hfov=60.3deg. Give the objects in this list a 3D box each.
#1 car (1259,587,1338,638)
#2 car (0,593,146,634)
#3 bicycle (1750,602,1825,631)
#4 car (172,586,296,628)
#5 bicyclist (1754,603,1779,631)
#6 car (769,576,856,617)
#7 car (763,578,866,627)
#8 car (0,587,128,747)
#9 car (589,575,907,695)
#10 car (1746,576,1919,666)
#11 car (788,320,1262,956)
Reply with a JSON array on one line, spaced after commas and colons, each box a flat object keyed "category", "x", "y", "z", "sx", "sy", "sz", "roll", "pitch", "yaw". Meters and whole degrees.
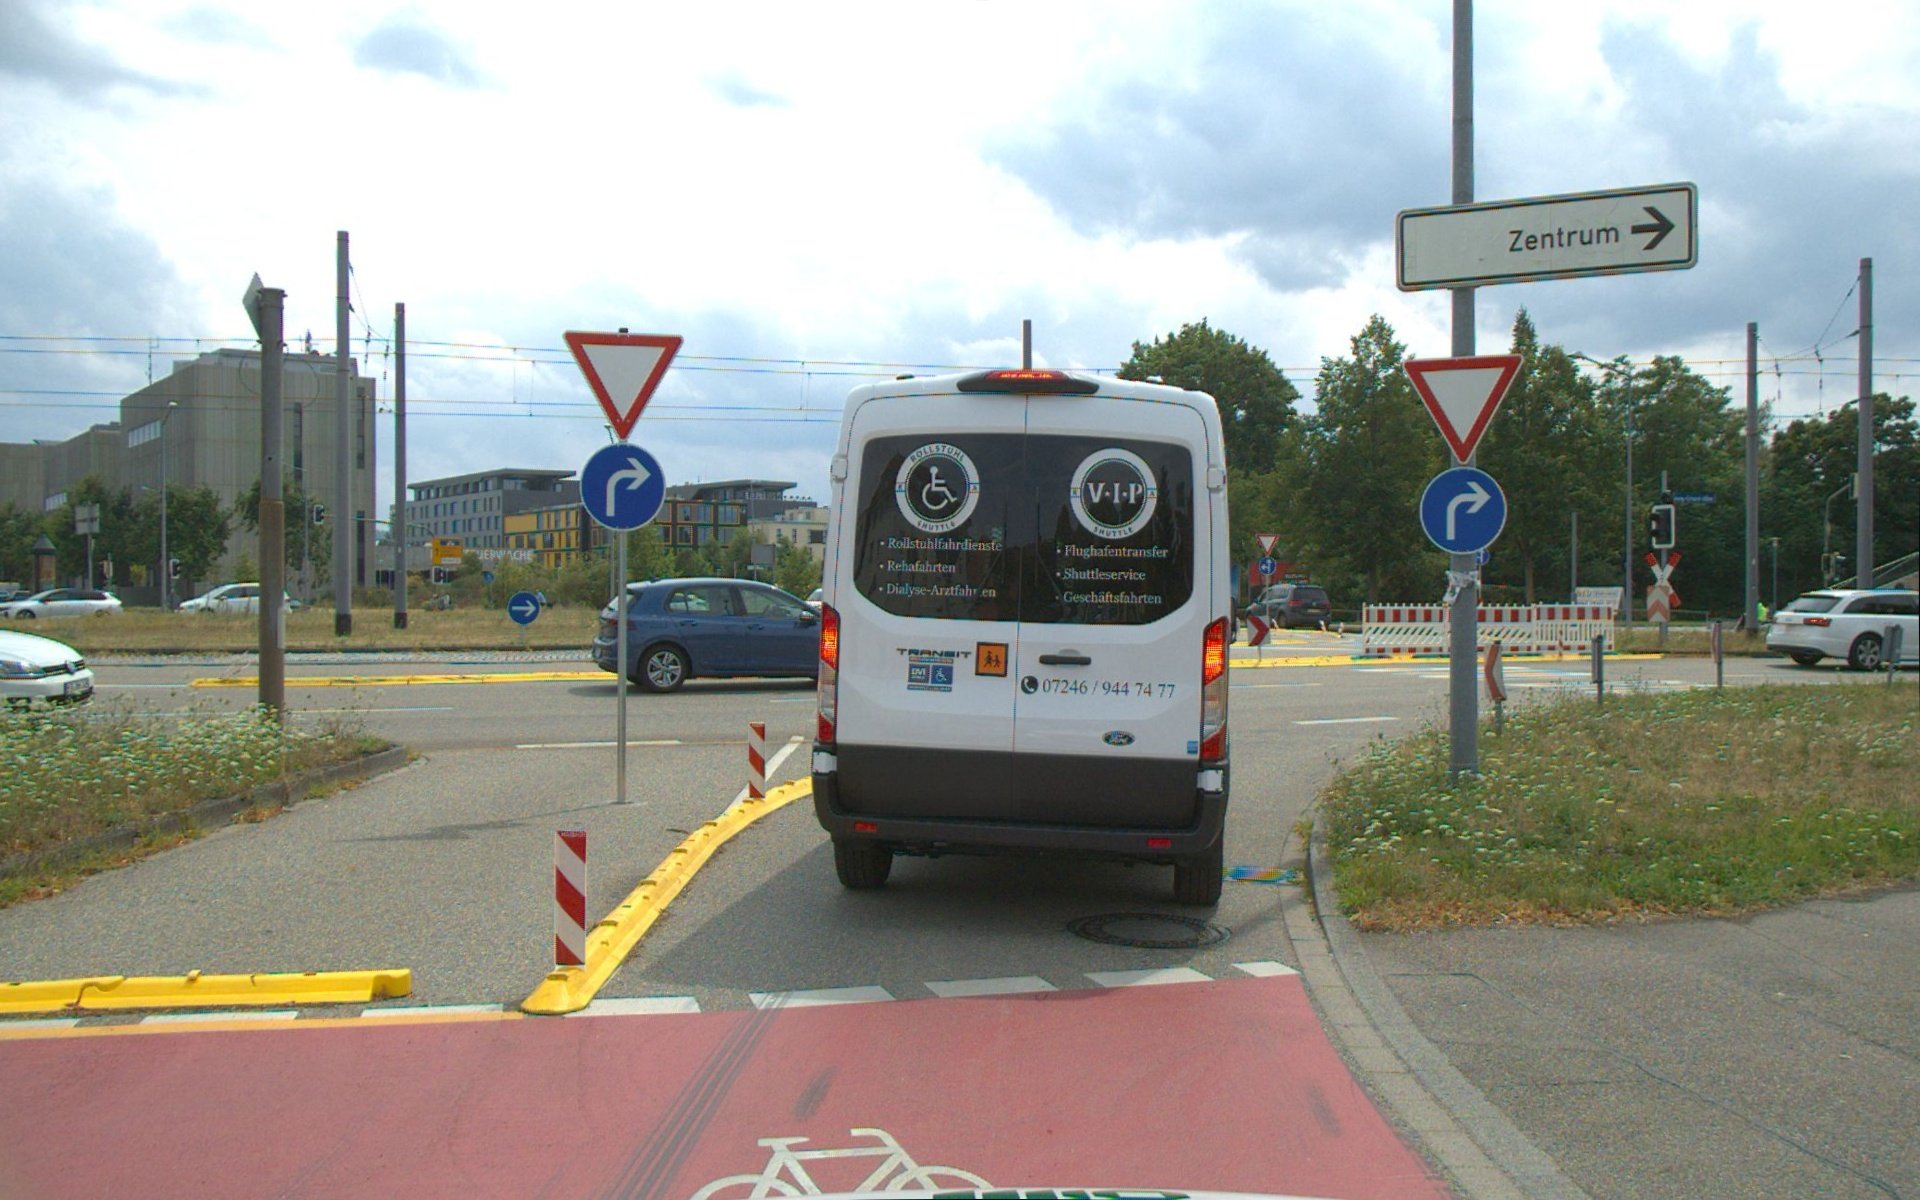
[{"category": "car", "x": 12.252, "y": 0.469, "z": 60.087, "sx": 1.953, "sy": 1.781, "sz": 3.998, "roll": 0, "pitch": -1, "yaw": -2}, {"category": "car", "x": -34.459, "y": 0.502, "z": 63.813, "sx": 1.966, "sy": 1.508, "sz": 5.147, "roll": 0, "pitch": 0, "yaw": 44}, {"category": "bicycle", "x": 27.476, "y": 0.554, "z": 54.944, "sx": 2.162, "sy": 0.954, "sz": 0.611, "roll": 0, "pitch": -2, "yaw": 39}, {"category": "car", "x": -29.928, "y": 0.288, "z": 68.250, "sx": 1.905, "sy": 1.695, "sz": 4.325, "roll": 0, "pitch": 0, "yaw": 44}, {"category": "bicyclist", "x": 26.996, "y": 0.567, "z": 55.335, "sx": 0.646, "sy": 0.899, "sz": 0.604, "roll": 0, "pitch": -2, "yaw": 38}, {"category": "car", "x": -7.830, "y": -0.165, "z": 87.679, "sx": 4.279, "sy": 2.049, "sz": 1.990, "roll": 1, "pitch": -1, "yaw": -18}, {"category": "car", "x": -6.274, "y": 0.106, "z": 71.418, "sx": 3.904, "sy": 2.049, "sz": 2.000, "roll": 0, "pitch": -1, "yaw": 19}, {"category": "car", "x": -10.846, "y": 0.635, "z": 16.495, "sx": 4.161, "sy": 1.523, "sz": 1.800, "roll": 0, "pitch": 0, "yaw": -3}, {"category": "car", "x": -2.914, "y": 0.437, "z": 22.627, "sx": 4.043, "sy": 1.523, "sz": 1.791, "roll": 0, "pitch": 0, "yaw": -21}, {"category": "car", "x": 17.805, "y": 0.382, "z": 31.734, "sx": 4.649, "sy": 1.646, "sz": 1.996, "roll": 0, "pitch": 0, "yaw": -9}, {"category": "car", "x": 0.575, "y": 0.166, "z": 10.053, "sx": 2.081, "sy": 2.745, "sz": 5.635, "roll": 0, "pitch": 0, "yaw": 6}]
